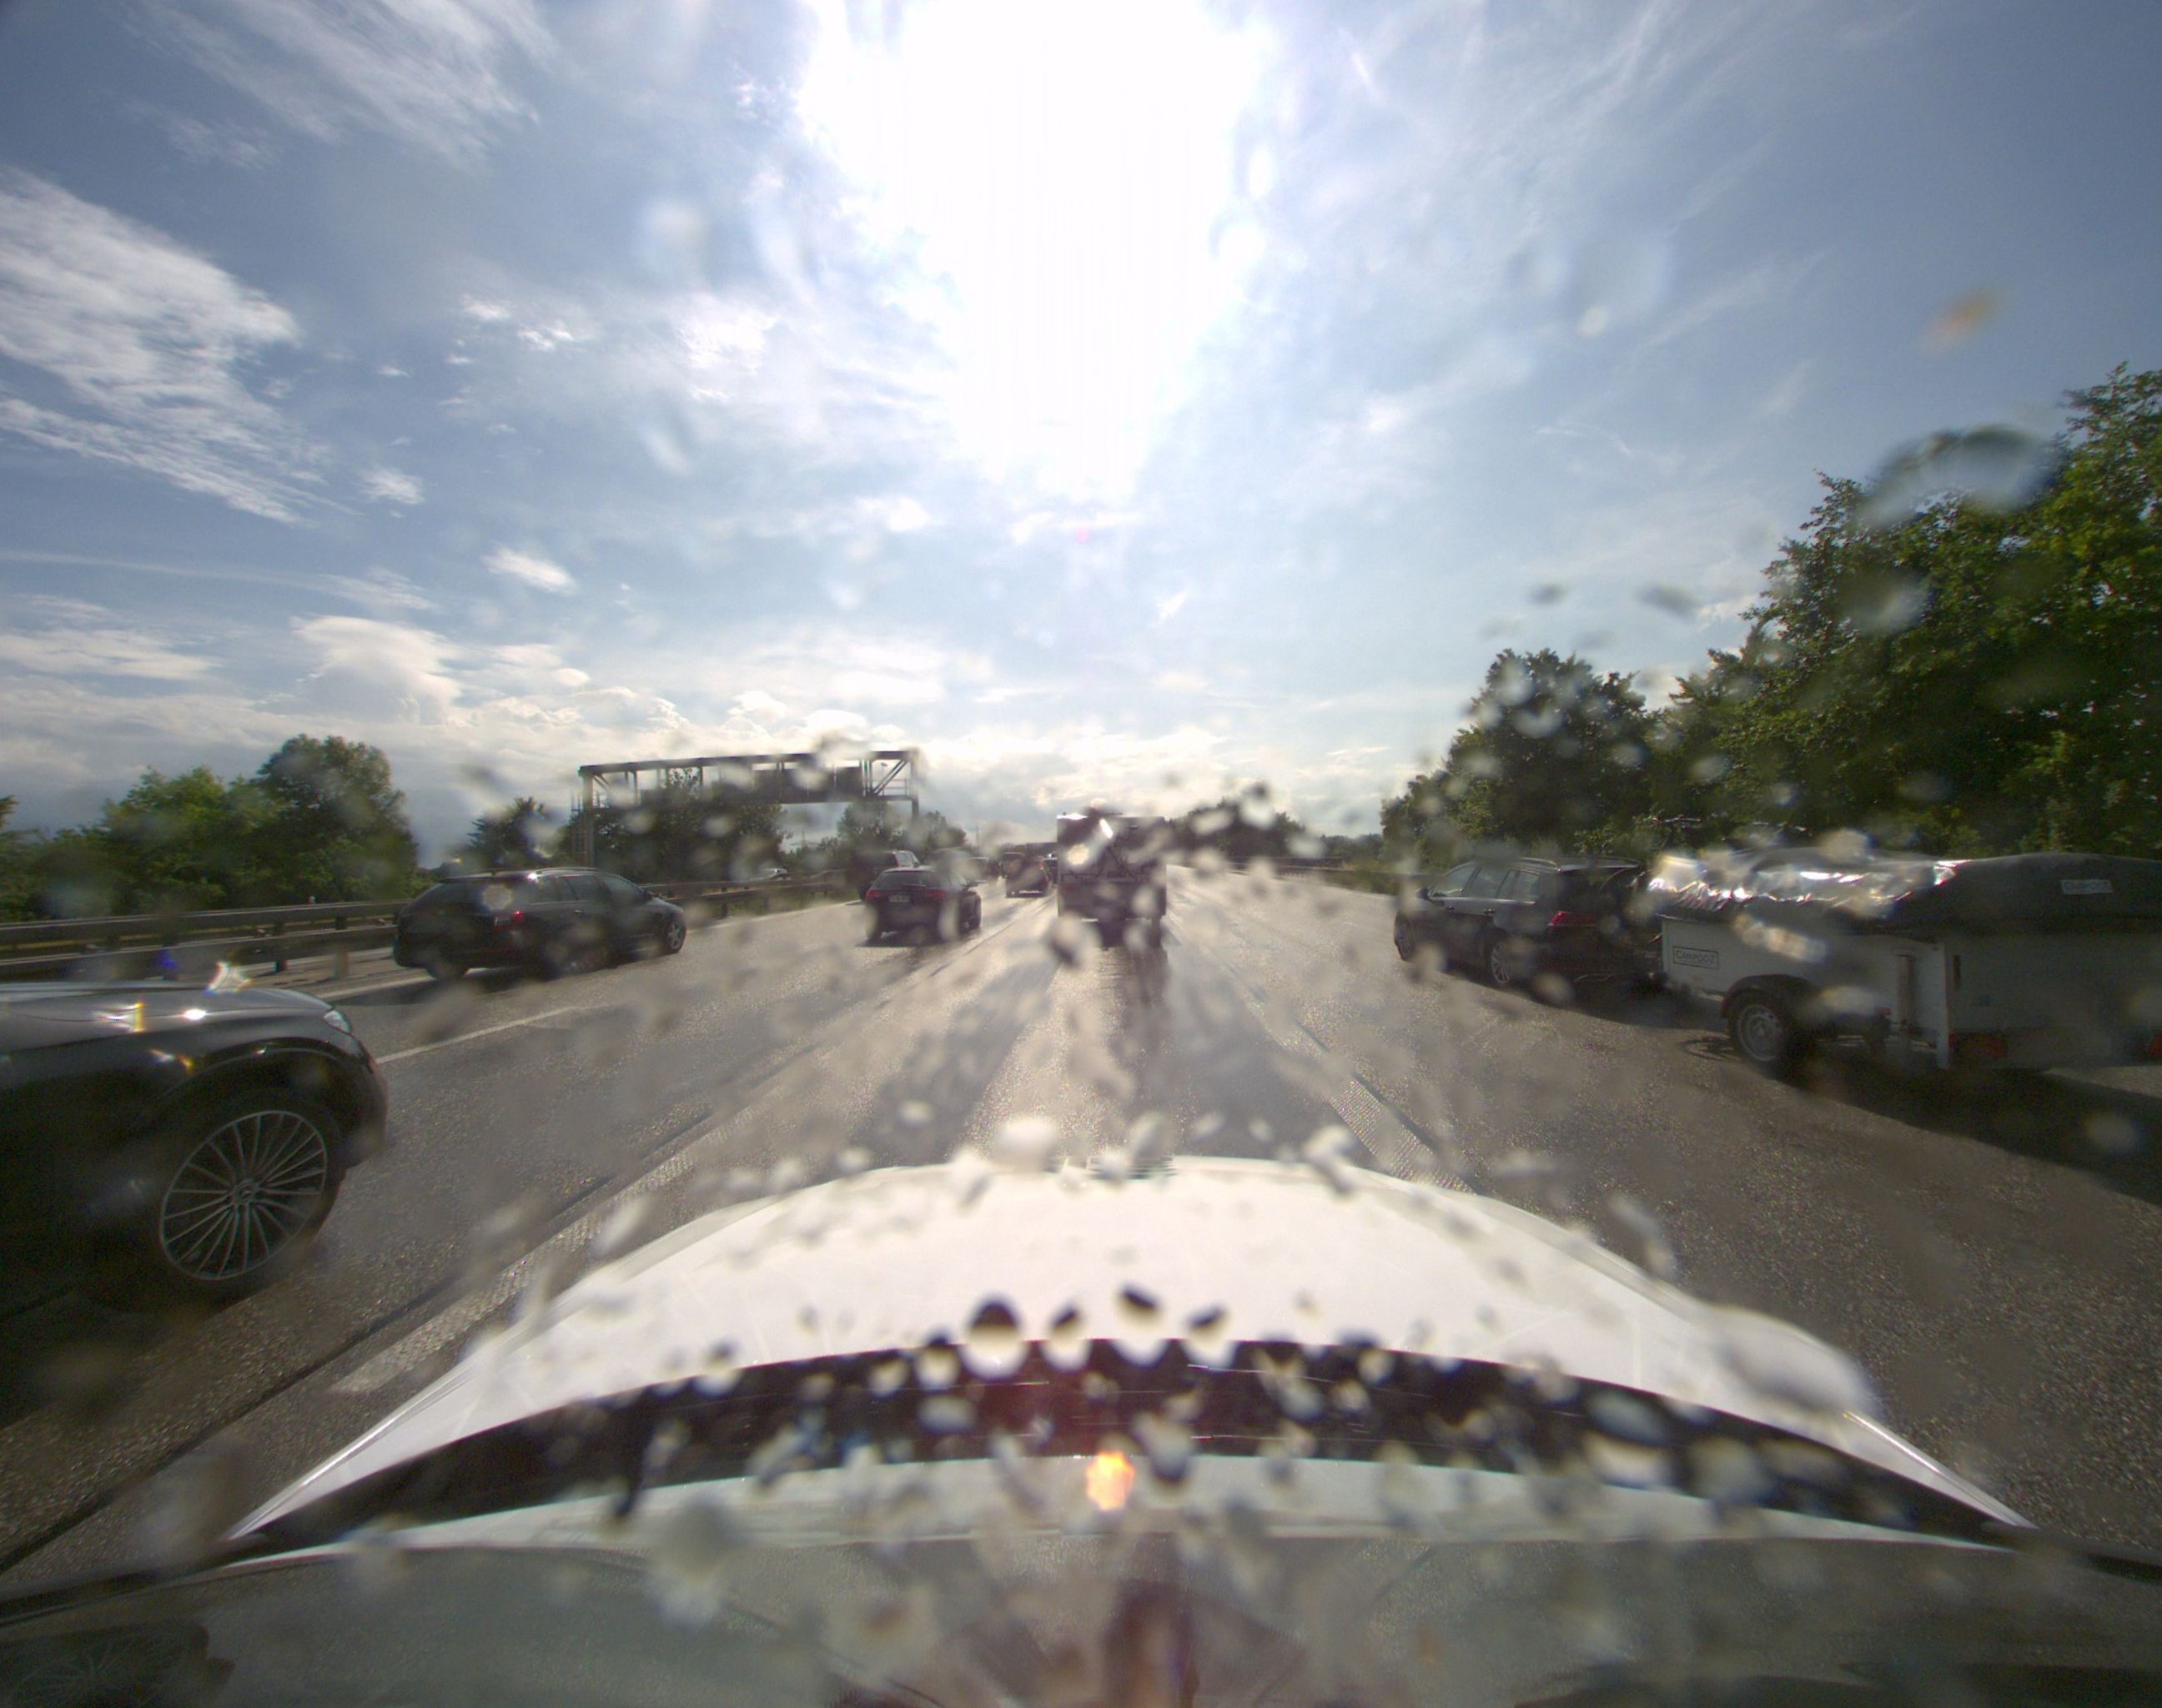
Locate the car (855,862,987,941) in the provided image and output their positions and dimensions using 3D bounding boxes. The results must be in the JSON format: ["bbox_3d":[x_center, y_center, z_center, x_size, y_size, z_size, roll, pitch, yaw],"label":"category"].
[{"bbox_3d":[-3.164,0.892,16.917,1.750,1.387,3.948,-1,0,3],"label":"car"}]

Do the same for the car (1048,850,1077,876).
[{"bbox_3d":[-1.413,0.713,64.234,1.985,2.014,4.003,0,0,3],"label":"car"}]

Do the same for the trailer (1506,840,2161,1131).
[{"bbox_3d":[5.196,0.666,6.189,1.848,1.442,4.149,-1,0,2],"label":"trailer"}]

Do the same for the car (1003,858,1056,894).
[{"bbox_3d":[-2.078,0.875,33.780,1.799,1.407,4.002,0,-1,2],"label":"car"}]

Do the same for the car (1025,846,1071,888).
[{"bbox_3d":[-1.644,0.636,41.755,1.985,2.014,4.003,0,0,3],"label":"car"}]

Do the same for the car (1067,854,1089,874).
[{"bbox_3d":[-0.288,1.009,85.439,1.985,2.014,4.003,-1,0,3],"label":"car"}]

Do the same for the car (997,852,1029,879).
[{"bbox_3d":[-5.446,0.884,65.840,1.985,2.013,4.003,3,0,3],"label":"car"}]

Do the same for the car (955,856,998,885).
[{"bbox_3d":[-6.614,1.037,51.912,1.985,1.772,4.003,0,0,3],"label":"car"}]

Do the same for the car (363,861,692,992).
[{"bbox_3d":[-7.654,0.885,11.881,1.750,1.516,4.212,-1,0,3],"label":"car"}]

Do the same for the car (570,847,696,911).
[{"bbox_3d":[-15.200,0.803,27.915,1.986,2.013,4.002,-1,0,2],"label":"car"}]

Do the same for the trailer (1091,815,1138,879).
[{"bbox_3d":[2.510,-0.458,57.763,2.993,4.166,8.545,-1,0,4],"label":"trailer"}]

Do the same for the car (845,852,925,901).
[{"bbox_3d":[-7.307,0.800,30.765,1.987,1.720,4.000,0,-1,0],"label":"car"}]

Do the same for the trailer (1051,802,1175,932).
[{"bbox_3d":[0.711,0.280,18.907,2.365,2.483,6.525,0,-1,2],"label":"trailer"}]

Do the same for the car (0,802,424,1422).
[{"bbox_3d":[-3.929,0.701,1.353,1.986,1.661,4.407,-1,-1,2],"label":"car"}]

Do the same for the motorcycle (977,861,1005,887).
[{"bbox_3d":[-4.780,1.045,43.335,1.069,1.271,2.692,-1,0,3],"label":"motorcycle"}]

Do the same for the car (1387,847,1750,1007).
[{"bbox_3d":[5.297,0.677,9.654,1.848,1.442,4.259,-1,0,2],"label":"car"}]

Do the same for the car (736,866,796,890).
[{"bbox_3d":[-21.402,1.607,55.552,2.110,1.487,5.036,-1,0,0],"label":"car"}]

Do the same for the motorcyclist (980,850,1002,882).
[{"bbox_3d":[-4.785,0.640,43.379,1.060,1.718,0.785,-1,-1,2],"label":"motorcyclist"}]
